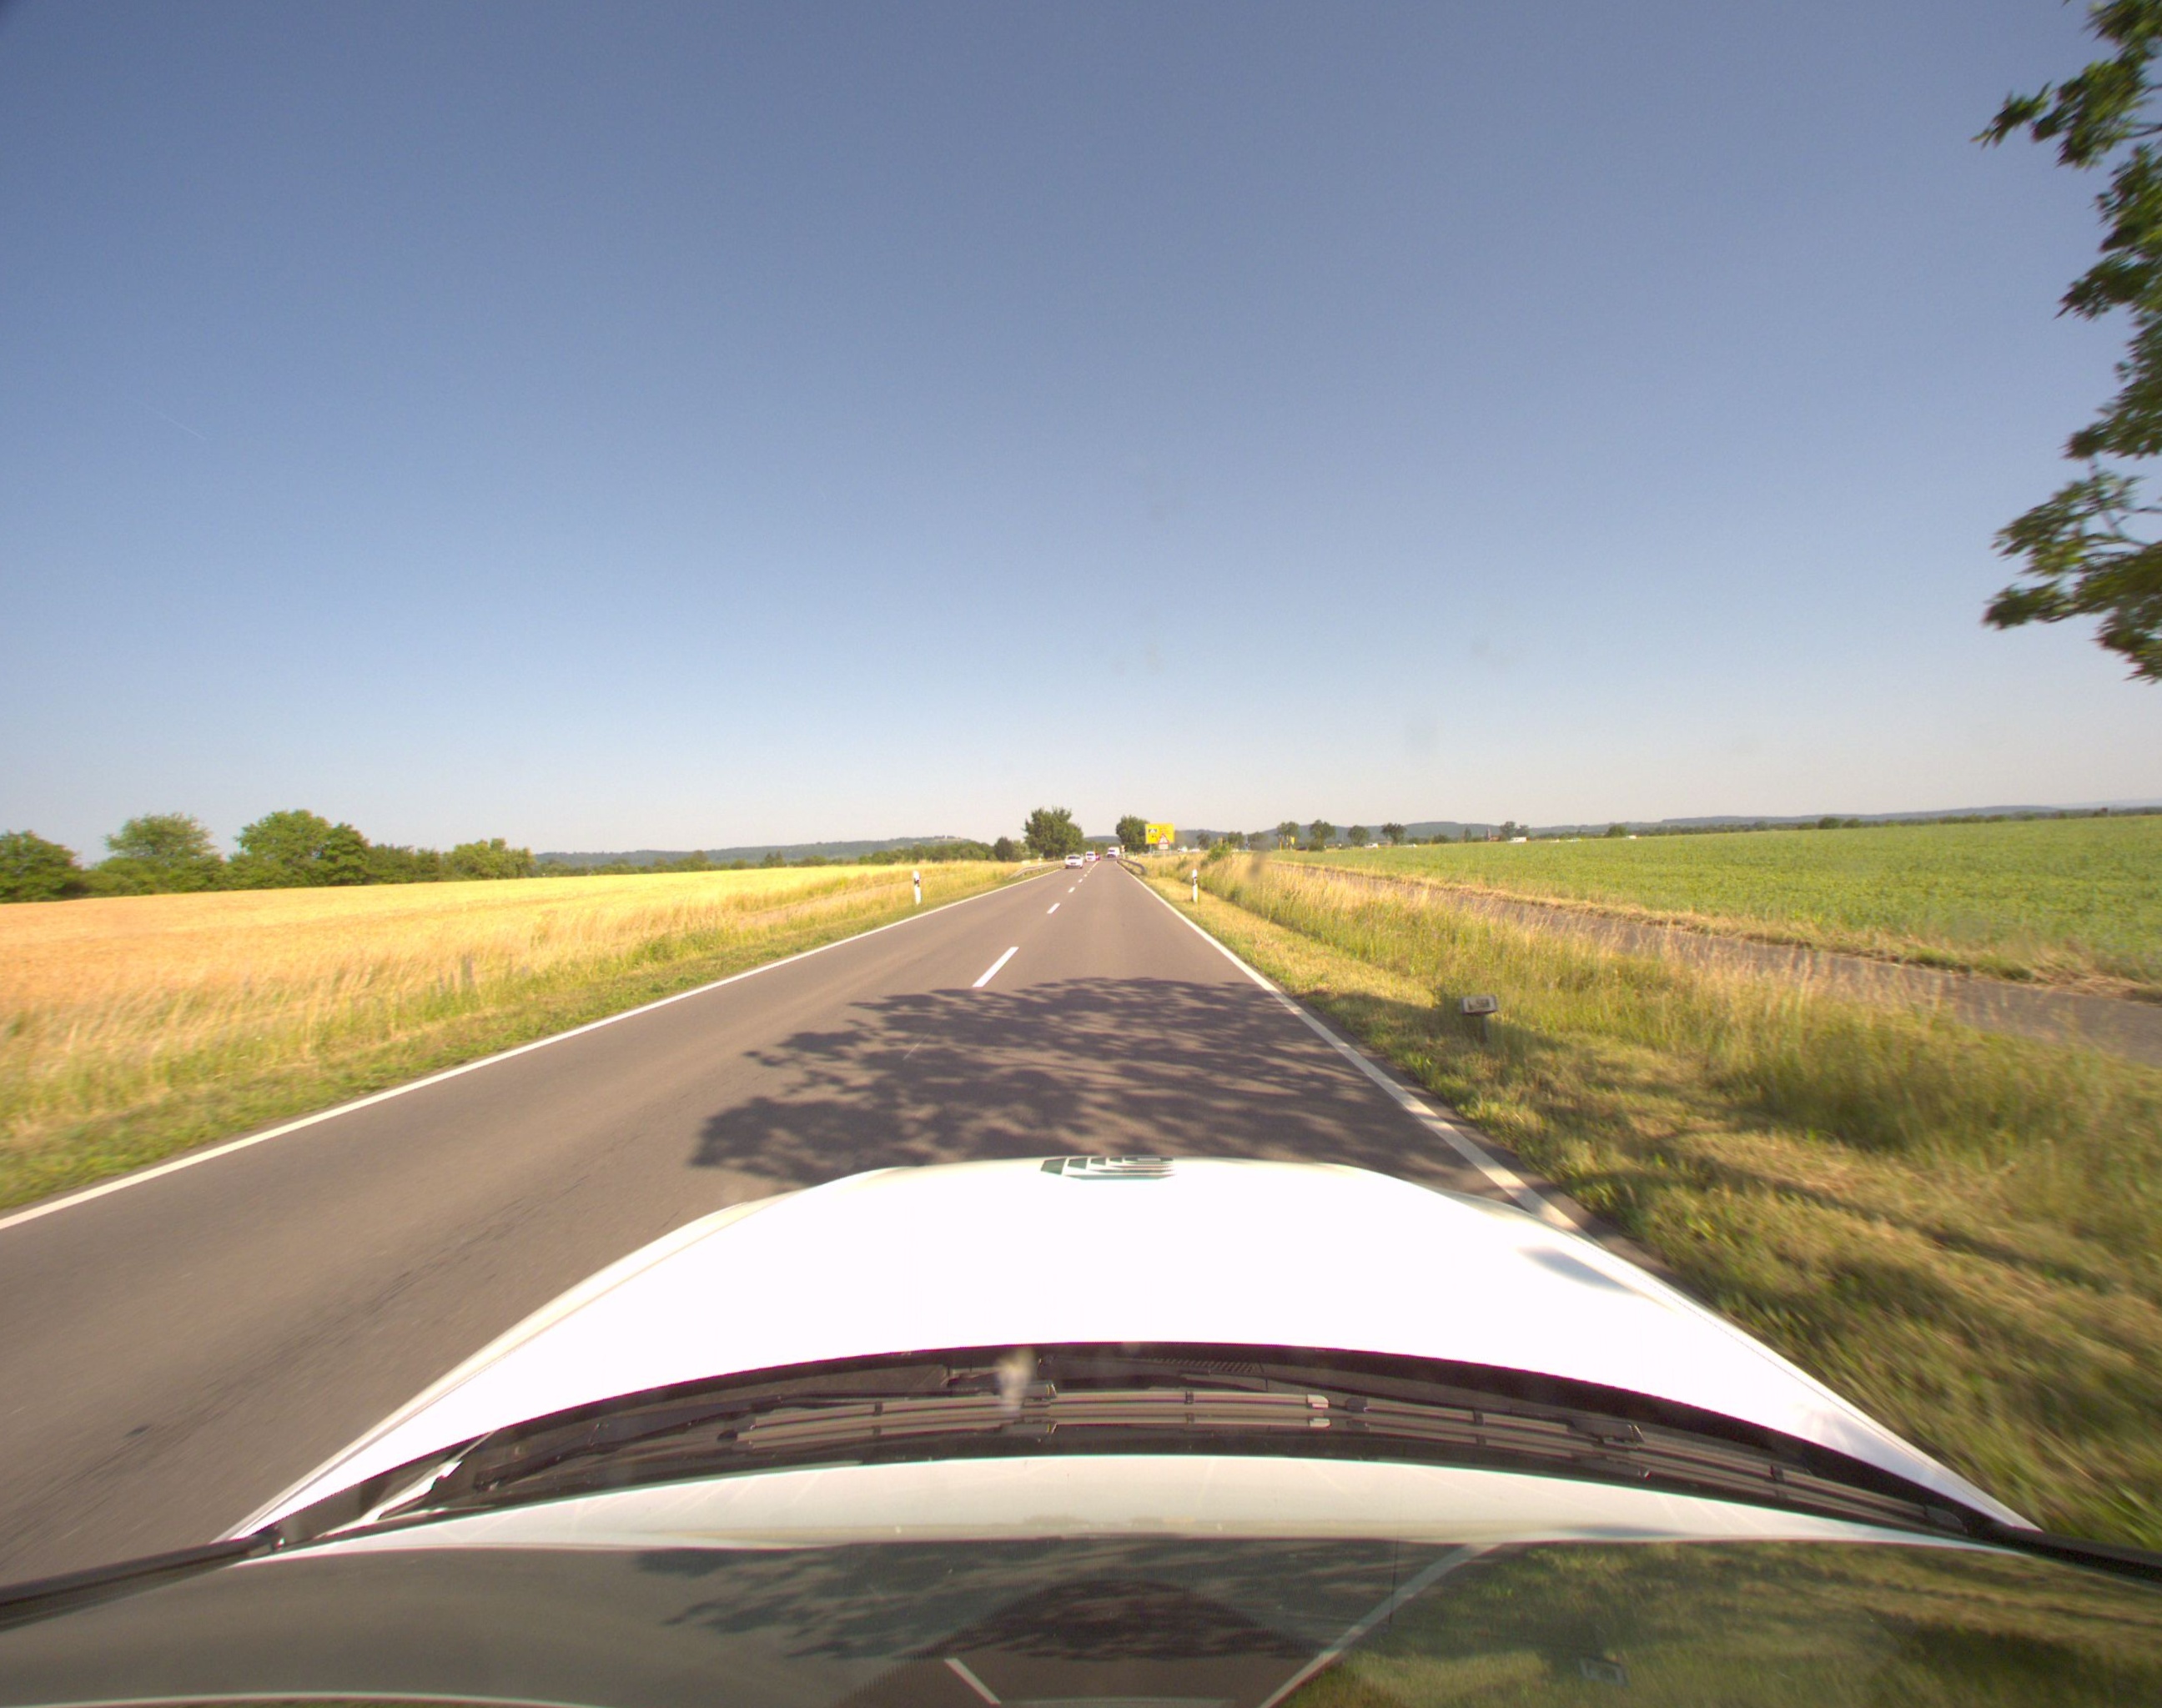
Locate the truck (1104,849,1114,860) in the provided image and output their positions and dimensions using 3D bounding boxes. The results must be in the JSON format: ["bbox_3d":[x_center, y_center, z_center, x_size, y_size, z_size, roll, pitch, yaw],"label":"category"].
[{"bbox_3d":[6.841,0.120,200.619,1.983,2.520,6.254,-1,0,6],"label":"truck"}]

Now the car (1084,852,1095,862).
[{"bbox_3d":[1.601,0.478,147.371,1.829,1.787,4.437,-2,0,2],"label":"car"}]

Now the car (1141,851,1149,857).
[{"bbox_3d":[18.624,-0.021,236.970,1.632,1.471,3.821,-1,0,14],"label":"car"}]

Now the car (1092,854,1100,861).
[{"bbox_3d":[3.146,0.659,170.098,1.600,1.488,3.782,-1,0,2],"label":"car"}]

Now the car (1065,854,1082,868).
[{"bbox_3d":[-0.784,0.765,87.174,1.720,1.437,4.517,-1,0,1],"label":"car"}]
